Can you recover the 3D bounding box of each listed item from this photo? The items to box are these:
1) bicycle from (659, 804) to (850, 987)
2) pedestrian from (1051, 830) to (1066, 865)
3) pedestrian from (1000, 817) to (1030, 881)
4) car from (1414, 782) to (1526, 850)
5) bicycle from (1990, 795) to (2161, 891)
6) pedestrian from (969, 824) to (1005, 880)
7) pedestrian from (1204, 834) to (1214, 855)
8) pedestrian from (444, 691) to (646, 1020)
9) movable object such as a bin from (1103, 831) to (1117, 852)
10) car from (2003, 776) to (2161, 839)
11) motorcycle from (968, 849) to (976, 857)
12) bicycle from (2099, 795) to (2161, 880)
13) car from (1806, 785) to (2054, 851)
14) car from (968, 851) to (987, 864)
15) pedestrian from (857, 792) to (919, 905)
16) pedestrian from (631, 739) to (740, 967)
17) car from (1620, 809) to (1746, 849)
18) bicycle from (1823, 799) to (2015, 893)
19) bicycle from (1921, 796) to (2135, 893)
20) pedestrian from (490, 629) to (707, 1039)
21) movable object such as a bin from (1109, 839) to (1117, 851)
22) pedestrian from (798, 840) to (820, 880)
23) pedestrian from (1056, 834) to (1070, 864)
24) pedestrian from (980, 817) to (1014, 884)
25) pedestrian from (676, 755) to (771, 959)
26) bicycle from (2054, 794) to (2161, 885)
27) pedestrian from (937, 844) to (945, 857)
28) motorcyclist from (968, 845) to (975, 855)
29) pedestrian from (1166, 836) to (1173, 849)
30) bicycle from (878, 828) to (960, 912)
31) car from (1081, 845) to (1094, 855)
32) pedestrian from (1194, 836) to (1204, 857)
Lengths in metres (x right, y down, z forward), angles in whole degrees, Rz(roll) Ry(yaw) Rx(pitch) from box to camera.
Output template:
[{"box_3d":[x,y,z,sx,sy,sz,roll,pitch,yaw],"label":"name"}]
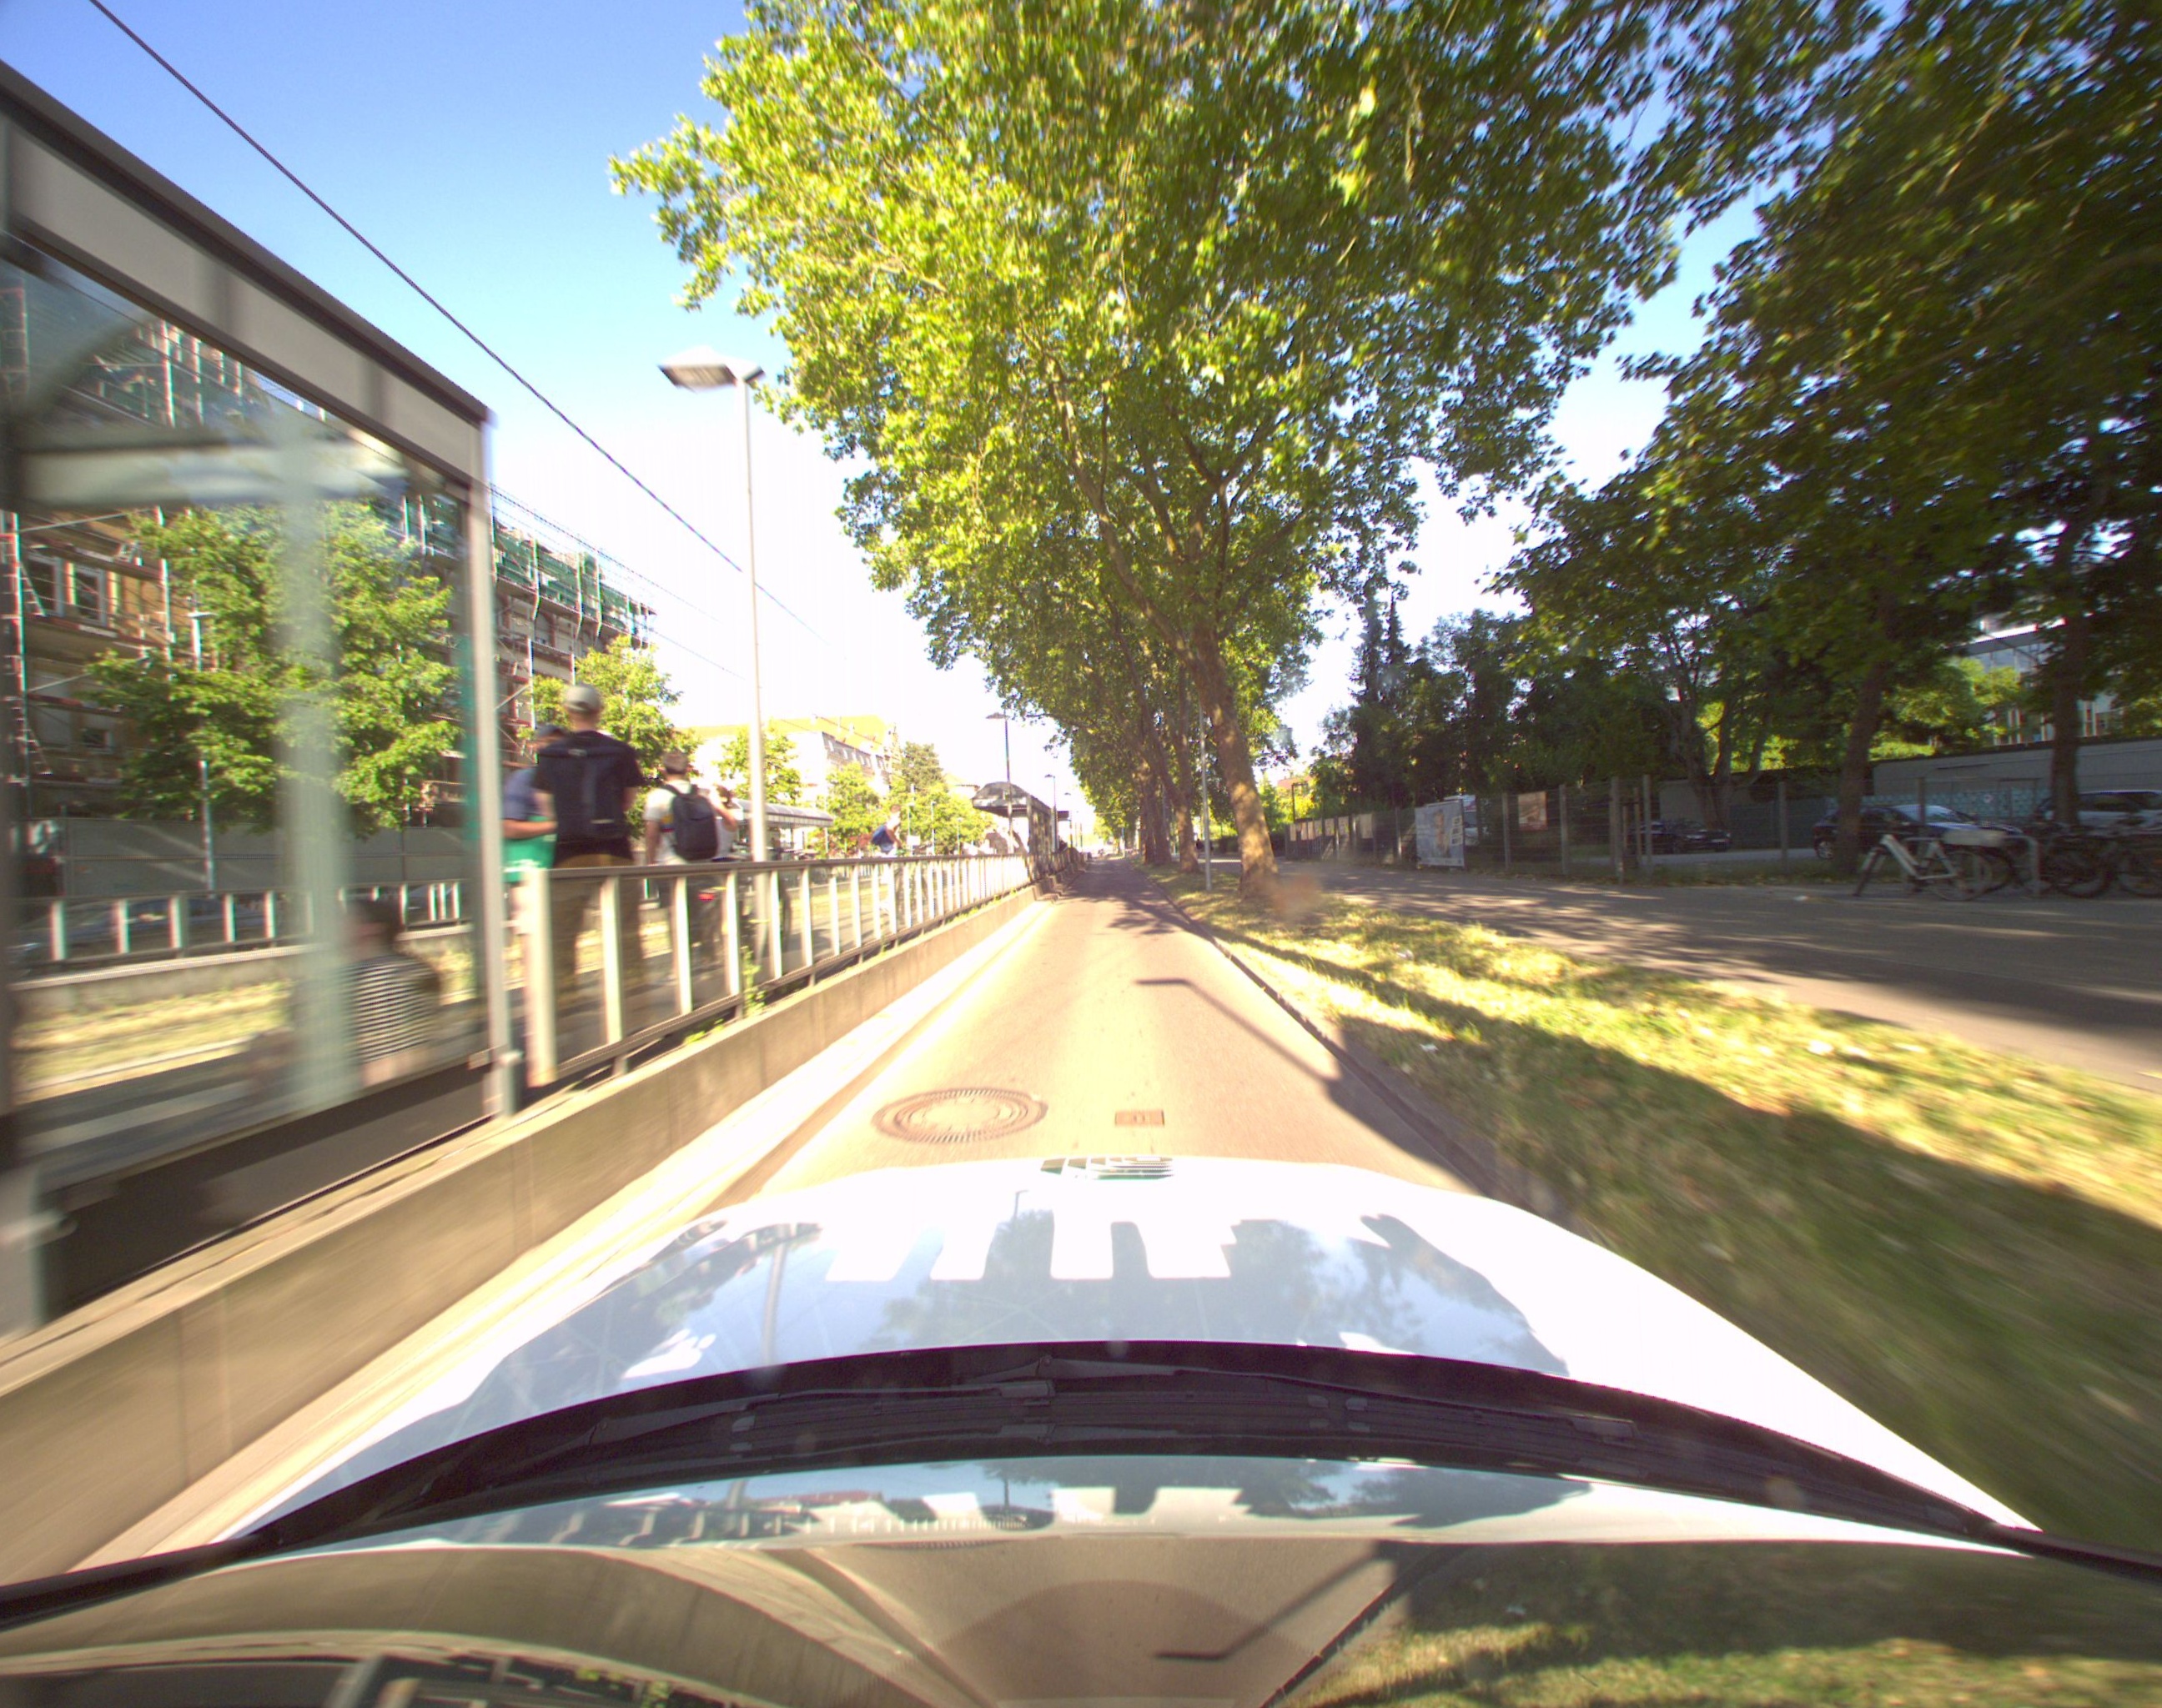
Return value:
[{"box_3d":[-2.332,0.251,6.116,0.511,1.133,2.104,-1,0,2],"label":"bicycle"},{"box_3d":[-1.097,-0.314,40.098,0.676,1.690,0.895,-1,0,2],"label":"pedestrian"},{"box_3d":[-1.842,-0.133,22.815,0.762,1.758,0.695,-1,0,1],"label":"pedestrian"},{"box_3d":[15.926,-1.449,33.794,1.984,2.499,6.354,-1,0,4],"label":"car"},{"box_3d":[13.555,-0.150,10.890,0.786,1.177,1.821,-1,0,2],"label":"bicycle"},{"box_3d":[-2.950,-0.055,25.503,0.914,1.722,0.625,-1,0,-32],"label":"pedestrian"},{"box_3d":[10.644,-0.792,67.656,0.647,1.656,0.783,-4,0,2],"label":"pedestrian"},{"box_3d":[-3.176,0.008,4.898,0.596,1.800,0.826,-1,0,7],"label":"pedestrian"},{"box_3d":[7.261,-3.096,207.372,3.076,5.087,8.894,-5,0,1],"label":"movable object such as a bin"},{"box_3d":[26.448,-1.134,20.473,1.988,1.453,3.997,-1,0,-2],"label":"car"},{"box_3d":[-14.243,-0.159,106.081,0.816,1.073,2.399,-1,0,-3],"label":"motorcycle"},{"box_3d":[15.393,-0.236,11.099,0.786,1.177,1.821,-1,0,2],"label":"bicycle"},{"box_3d":[20.839,-0.825,20.269,1.988,1.453,3.997,-1,0,-2],"label":"car"},{"box_3d":[-14.882,0.450,117.146,1.856,1.806,4.031,-1,0,4],"label":"car"},{"box_3d":[-3.140,-0.087,13.289,0.782,1.770,0.773,-1,0,1],"label":"pedestrian"},{"box_3d":[-3.101,-0.013,6.421,0.547,1.708,0.599,-1,0,-2],"label":"pedestrian"},{"box_3d":[23.764,-0.958,32.338,1.988,1.453,3.997,-1,0,-2],"label":"car"},{"box_3d":[11.348,-0.107,11.131,0.786,1.177,1.821,-1,0,2],"label":"bicycle"},{"box_3d":[12.610,-0.123,10.948,0.786,1.177,1.821,-1,0,2],"label":"bicycle"},{"box_3d":[-2.557,-0.096,4.399,0.596,1.996,0.826,-1,0,7],"label":"pedestrian"},{"box_3d":[9.108,-2.471,229.517,1.961,3.012,4.798,-5,0,1],"label":"movable object such as a bin"},{"box_3d":[-11.542,0.245,34.604,0.677,1.690,0.654,-1,0,0],"label":"pedestrian"},{"box_3d":[-1.053,-0.293,47.324,0.754,1.690,0.679,-1,0,2],"label":"pedestrian"},{"box_3d":[-1.988,-0.085,19.389,0.676,1.562,0.851,-1,0,1],"label":"pedestrian"},{"box_3d":[-3.146,0.024,7.221,0.504,1.708,0.729,-1,0,-1],"label":"pedestrian"},{"box_3d":[14.435,-0.198,10.857,0.786,1.177,1.821,-1,0,2],"label":"bicycle"},{"box_3d":[-20.225,-0.522,117.884,0.855,1.927,1.086,-4,0,0],"label":"pedestrian"},{"box_3d":[-14.239,-0.562,105.991,0.816,1.300,1.275,-1,0,-3],"label":"motorcyclist"},{"box_3d":[12.640,-1.584,116.846,0.802,1.793,1.110,-4,0,2],"label":"pedestrian"},{"box_3d":[-2.359,0.216,12.095,0.734,1.133,2.031,-1,0,2],"label":"bicycle"},{"box_3d":[1.144,-0.668,141.197,1.986,1.684,4.002,-1,0,2],"label":"car"},{"box_3d":[9.800,-0.623,67.673,0.625,1.656,0.740,-4,0,2],"label":"pedestrian"}]
